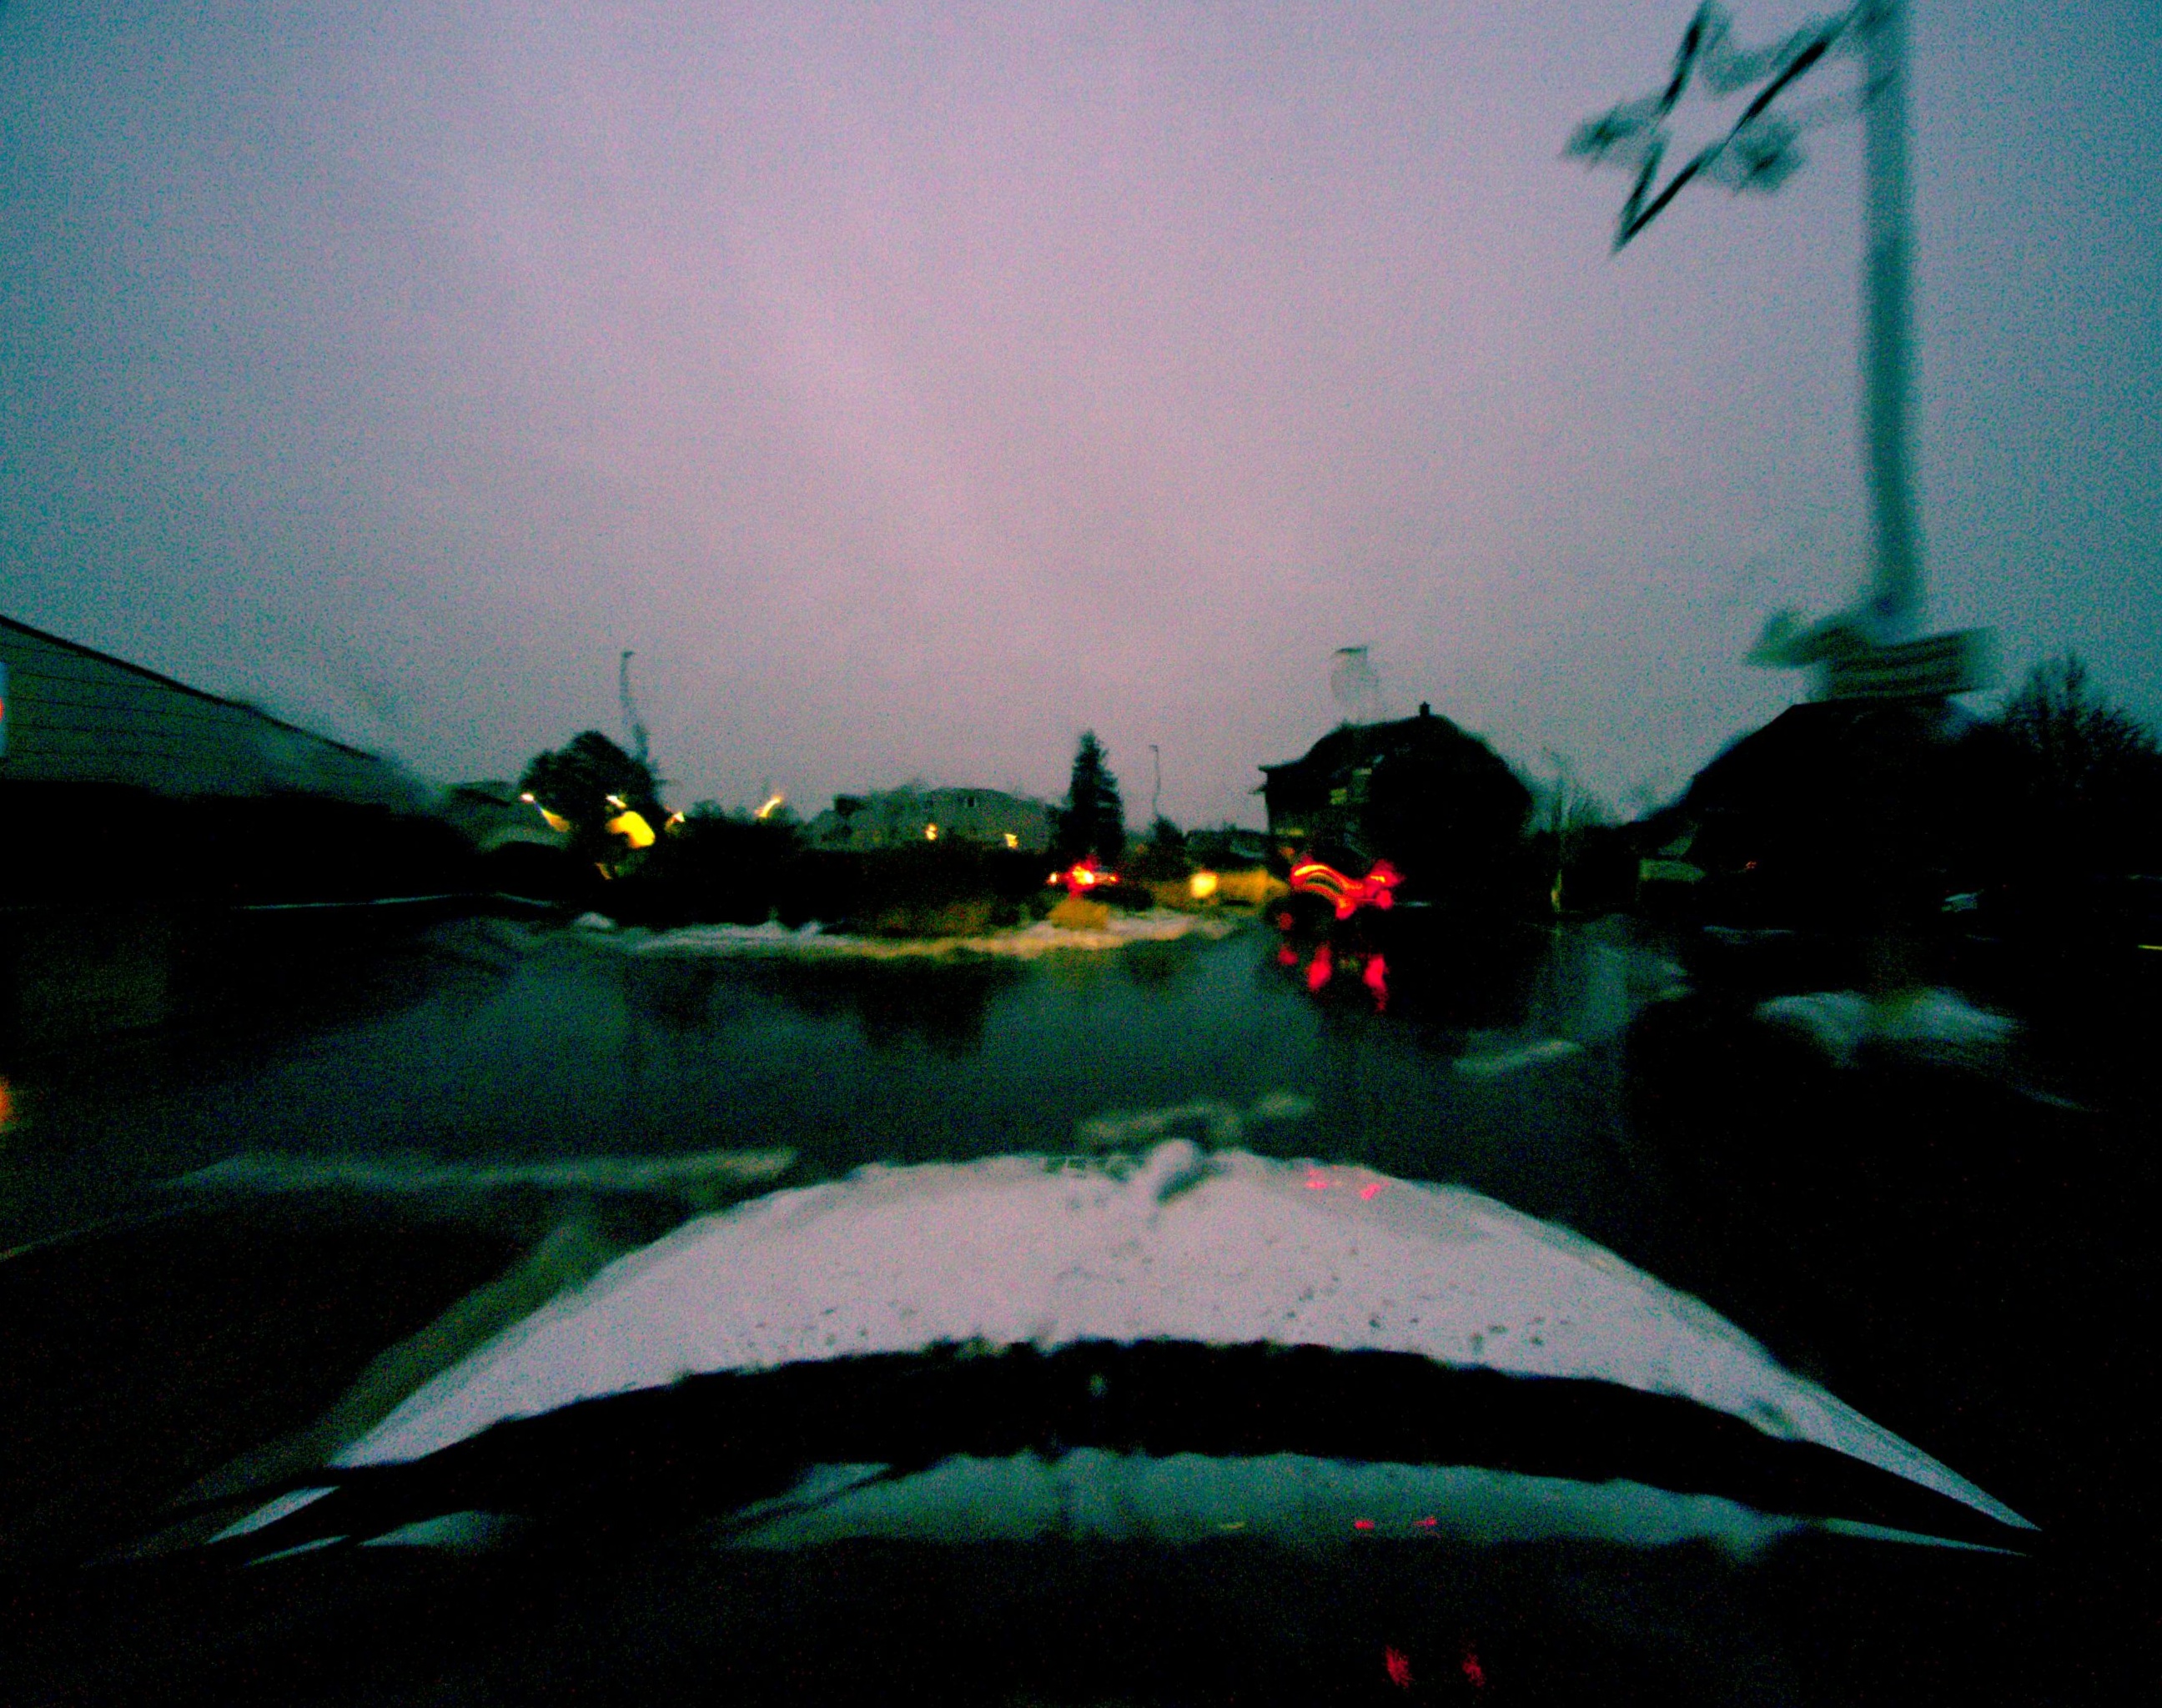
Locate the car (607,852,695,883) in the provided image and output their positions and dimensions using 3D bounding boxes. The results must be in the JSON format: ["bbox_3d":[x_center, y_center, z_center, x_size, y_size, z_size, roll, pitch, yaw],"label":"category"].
[{"bbox_3d":[-31.598,1.018,60.031,2.008,2.134,5.454,1,-2,26],"label":"car"}]

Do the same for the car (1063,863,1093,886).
[{"bbox_3d":[-0.257,1.483,57.932,1.878,1.548,4.565,0,-2,-3],"label":"car"}]

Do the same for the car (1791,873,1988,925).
[{"bbox_3d":[32.004,1.698,32.410,2.379,1.865,5.271,0,-1,-38],"label":"car"}]

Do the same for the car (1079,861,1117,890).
[{"bbox_3d":[0.940,1.294,48.049,1.878,1.615,4.565,0,-2,-3],"label":"car"}]

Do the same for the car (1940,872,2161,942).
[{"bbox_3d":[31.377,1.627,26.033,1.947,1.919,5.190,3,-1,-36],"label":"car"}]

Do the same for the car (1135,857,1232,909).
[{"bbox_3d":[3.667,0.993,30.108,2.166,1.689,4.551,-1,1,-13],"label":"car"}]

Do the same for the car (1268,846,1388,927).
[{"bbox_3d":[5.760,0.701,19.487,1.936,1.718,4.004,0,0,4],"label":"car"}]
